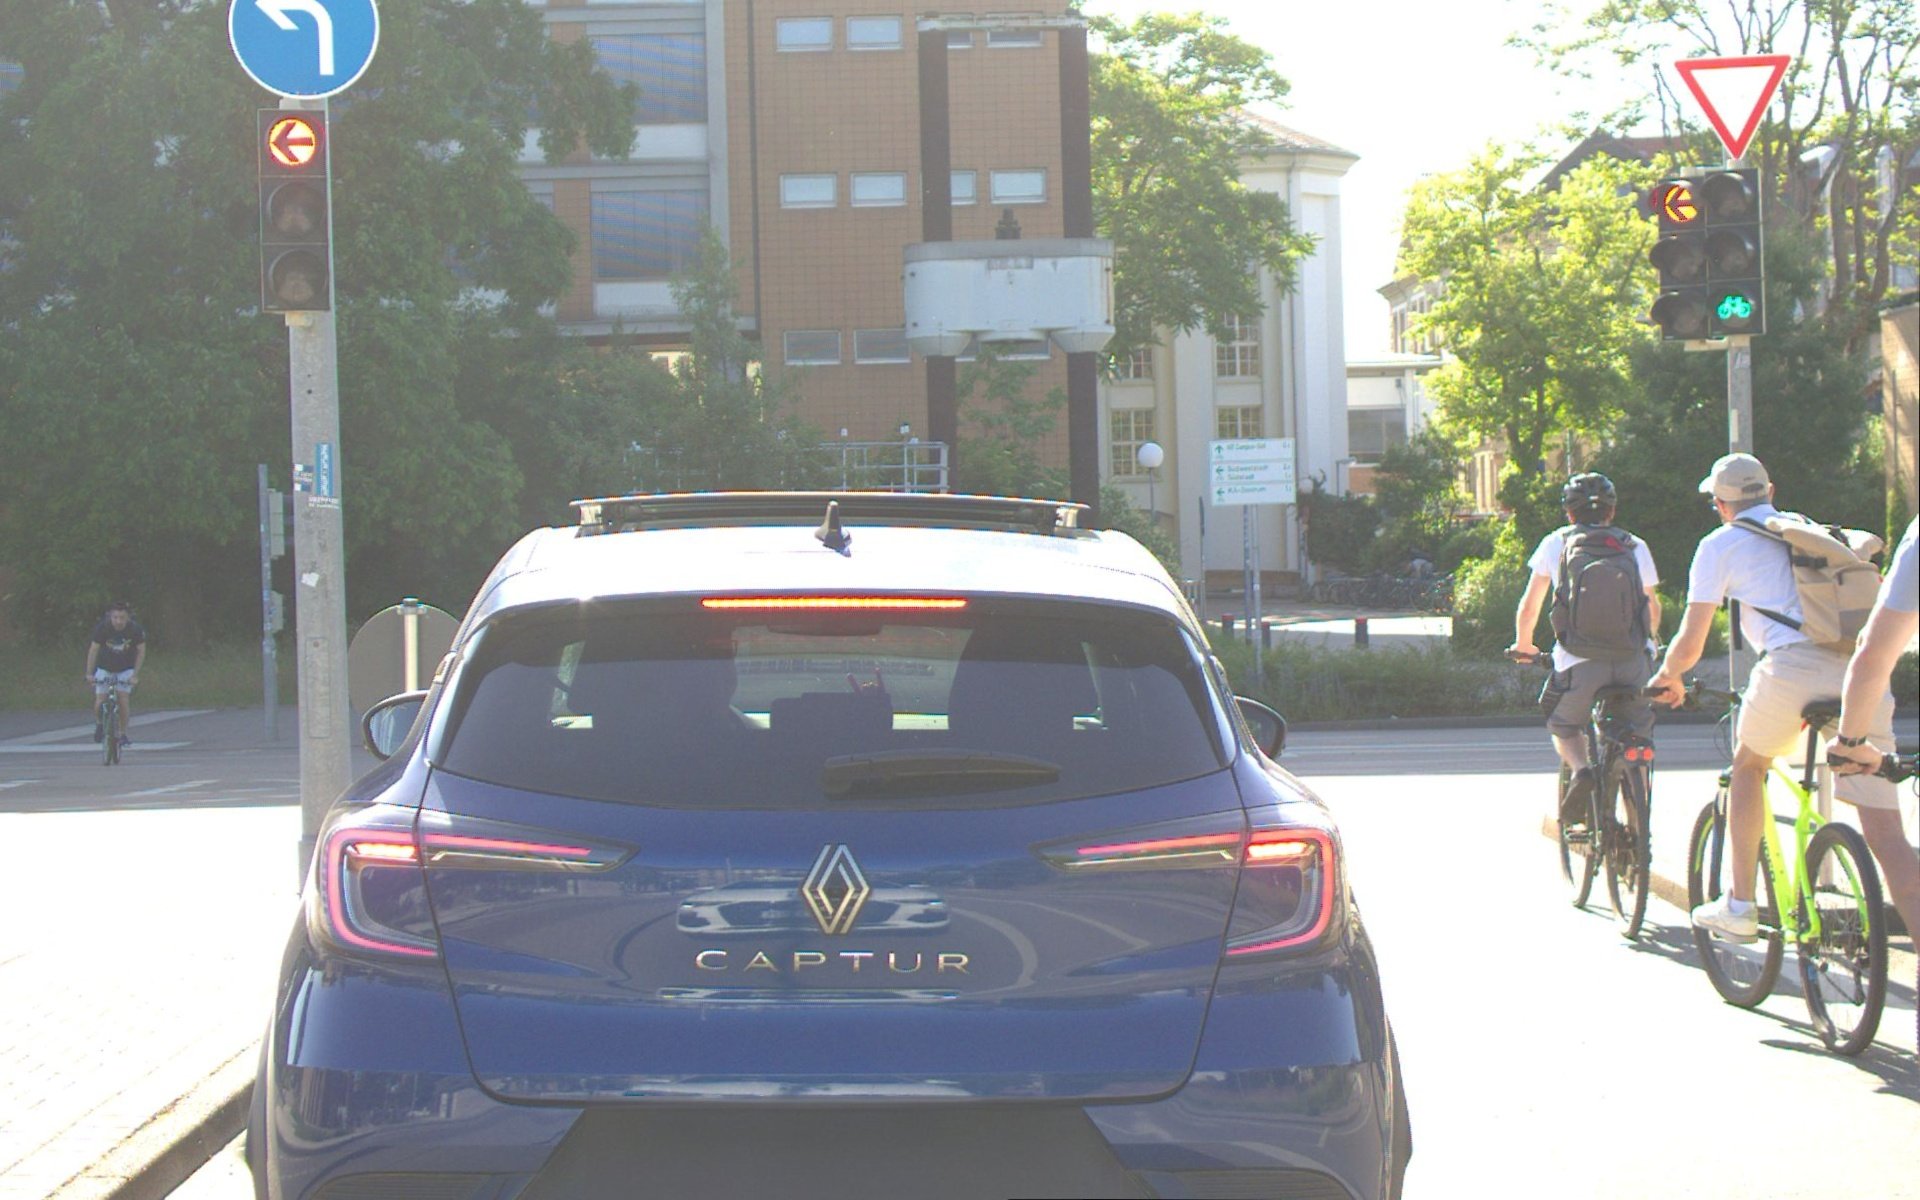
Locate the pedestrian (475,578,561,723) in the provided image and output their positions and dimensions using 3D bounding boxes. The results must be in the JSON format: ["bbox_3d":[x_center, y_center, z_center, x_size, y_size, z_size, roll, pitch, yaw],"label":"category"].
[{"bbox_3d":[-5.797,0.653,45.104,0.814,1.856,0.909,-1,1,13],"label":"pedestrian"}]

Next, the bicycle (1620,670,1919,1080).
[{"bbox_3d":[2.575,0.790,10.592,0.689,1.085,1.922,0,1,-1],"label":"bicycle"}]

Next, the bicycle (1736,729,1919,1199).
[{"bbox_3d":[2.226,0.865,7.325,0.689,1.085,1.922,0,1,-1],"label":"bicycle"}]

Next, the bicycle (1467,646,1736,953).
[{"bbox_3d":[2.511,0.750,13.668,0.689,1.085,1.922,0,1,-1],"label":"bicycle"}]

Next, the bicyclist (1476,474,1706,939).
[{"bbox_3d":[2.507,0.402,13.770,0.699,1.785,1.142,0,1,-1],"label":"bicyclist"}]

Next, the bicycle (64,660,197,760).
[{"bbox_3d":[-9.016,1.188,37.446,0.755,0.981,2.093,-1,1,5],"label":"bicycle"}]

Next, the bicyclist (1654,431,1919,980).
[{"bbox_3d":[2.590,0.298,10.532,0.678,1.589,1.142,0,1,-1],"label":"bicyclist"}]

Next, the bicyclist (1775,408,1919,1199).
[{"bbox_3d":[2.223,0.508,7.340,0.683,1.785,1.142,0,1,-1],"label":"bicyclist"}]

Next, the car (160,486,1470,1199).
[{"bbox_3d":[-0.275,0.611,6.660,1.788,1.580,3.915,0,1,-2],"label":"car"}]

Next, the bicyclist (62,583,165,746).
[{"bbox_3d":[-9.076,0.681,36.895,0.755,1.710,0.998,-1,1,5],"label":"bicyclist"}]
